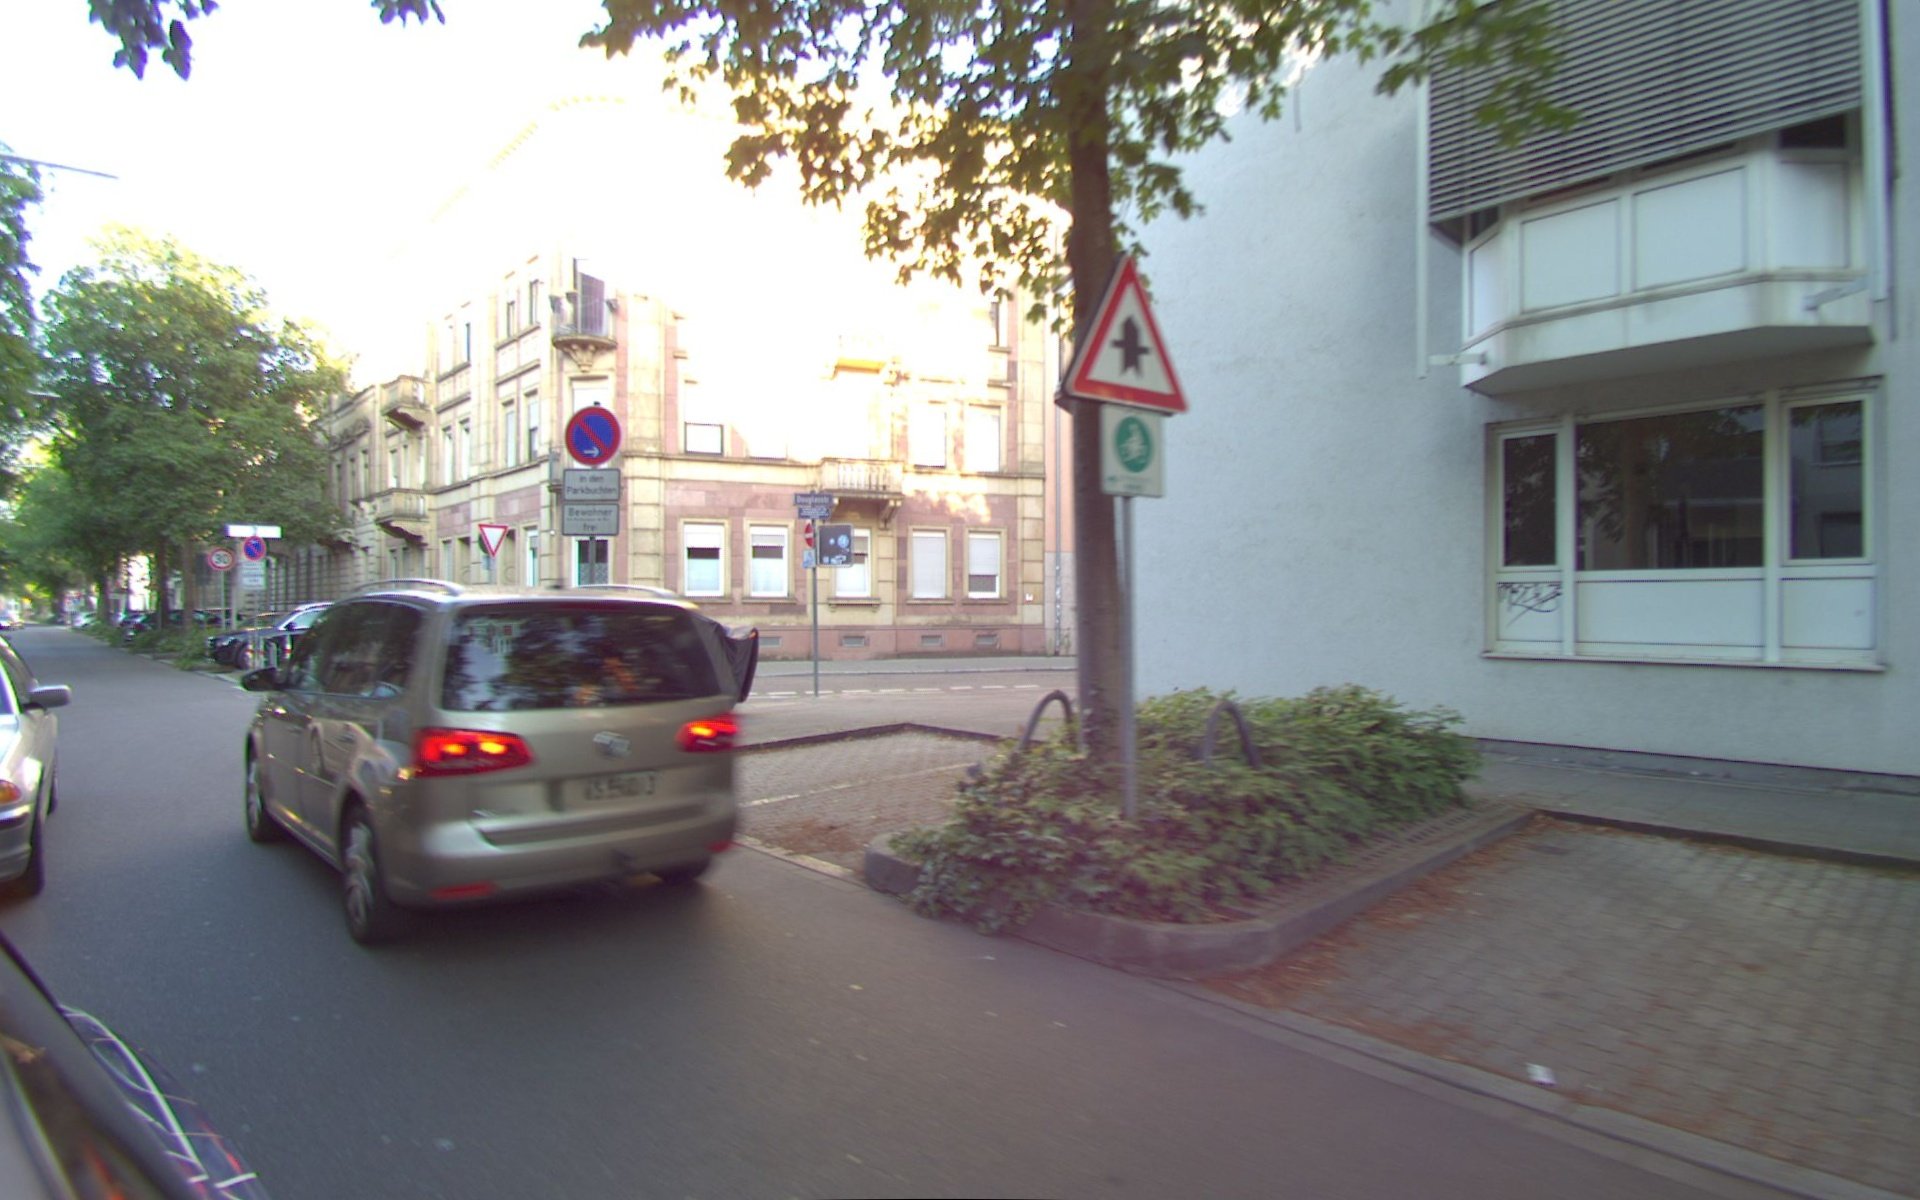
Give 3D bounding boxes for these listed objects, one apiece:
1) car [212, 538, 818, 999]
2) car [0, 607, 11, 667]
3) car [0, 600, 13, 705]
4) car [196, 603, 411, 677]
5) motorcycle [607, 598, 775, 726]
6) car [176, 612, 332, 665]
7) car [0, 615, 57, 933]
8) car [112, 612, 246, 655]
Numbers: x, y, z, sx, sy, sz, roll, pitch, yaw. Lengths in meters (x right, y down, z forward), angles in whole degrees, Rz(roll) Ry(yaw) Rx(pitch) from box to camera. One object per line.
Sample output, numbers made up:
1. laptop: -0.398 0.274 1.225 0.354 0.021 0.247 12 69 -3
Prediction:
1. car: -2.874 0.645 5.917 4.388 1.701 1.762 -1 -1 45
2. car: -28.151 1.061 28.369 1.886 1.701 3.978 0 -1 -38
3. car: -15.902 0.836 15.415 1.864 1.658 4.007 -1 0 -39
4. car: -17.087 0.965 26.423 4.533 1.748 2.145 0 -1 -39
5. motorcycle: -3.357 0.732 12.883 0.896 1.481 2.214 -1 -1 24
6. car: -22.282 1.178 32.119 3.932 1.597 2.006 0 -1 -33
7. car: -6.143 0.780 5.522 1.712 1.381 4.337 0 -1 -43
8. car: -33.715 1.387 43.760 4.464 1.728 2.002 0 -1 -43
